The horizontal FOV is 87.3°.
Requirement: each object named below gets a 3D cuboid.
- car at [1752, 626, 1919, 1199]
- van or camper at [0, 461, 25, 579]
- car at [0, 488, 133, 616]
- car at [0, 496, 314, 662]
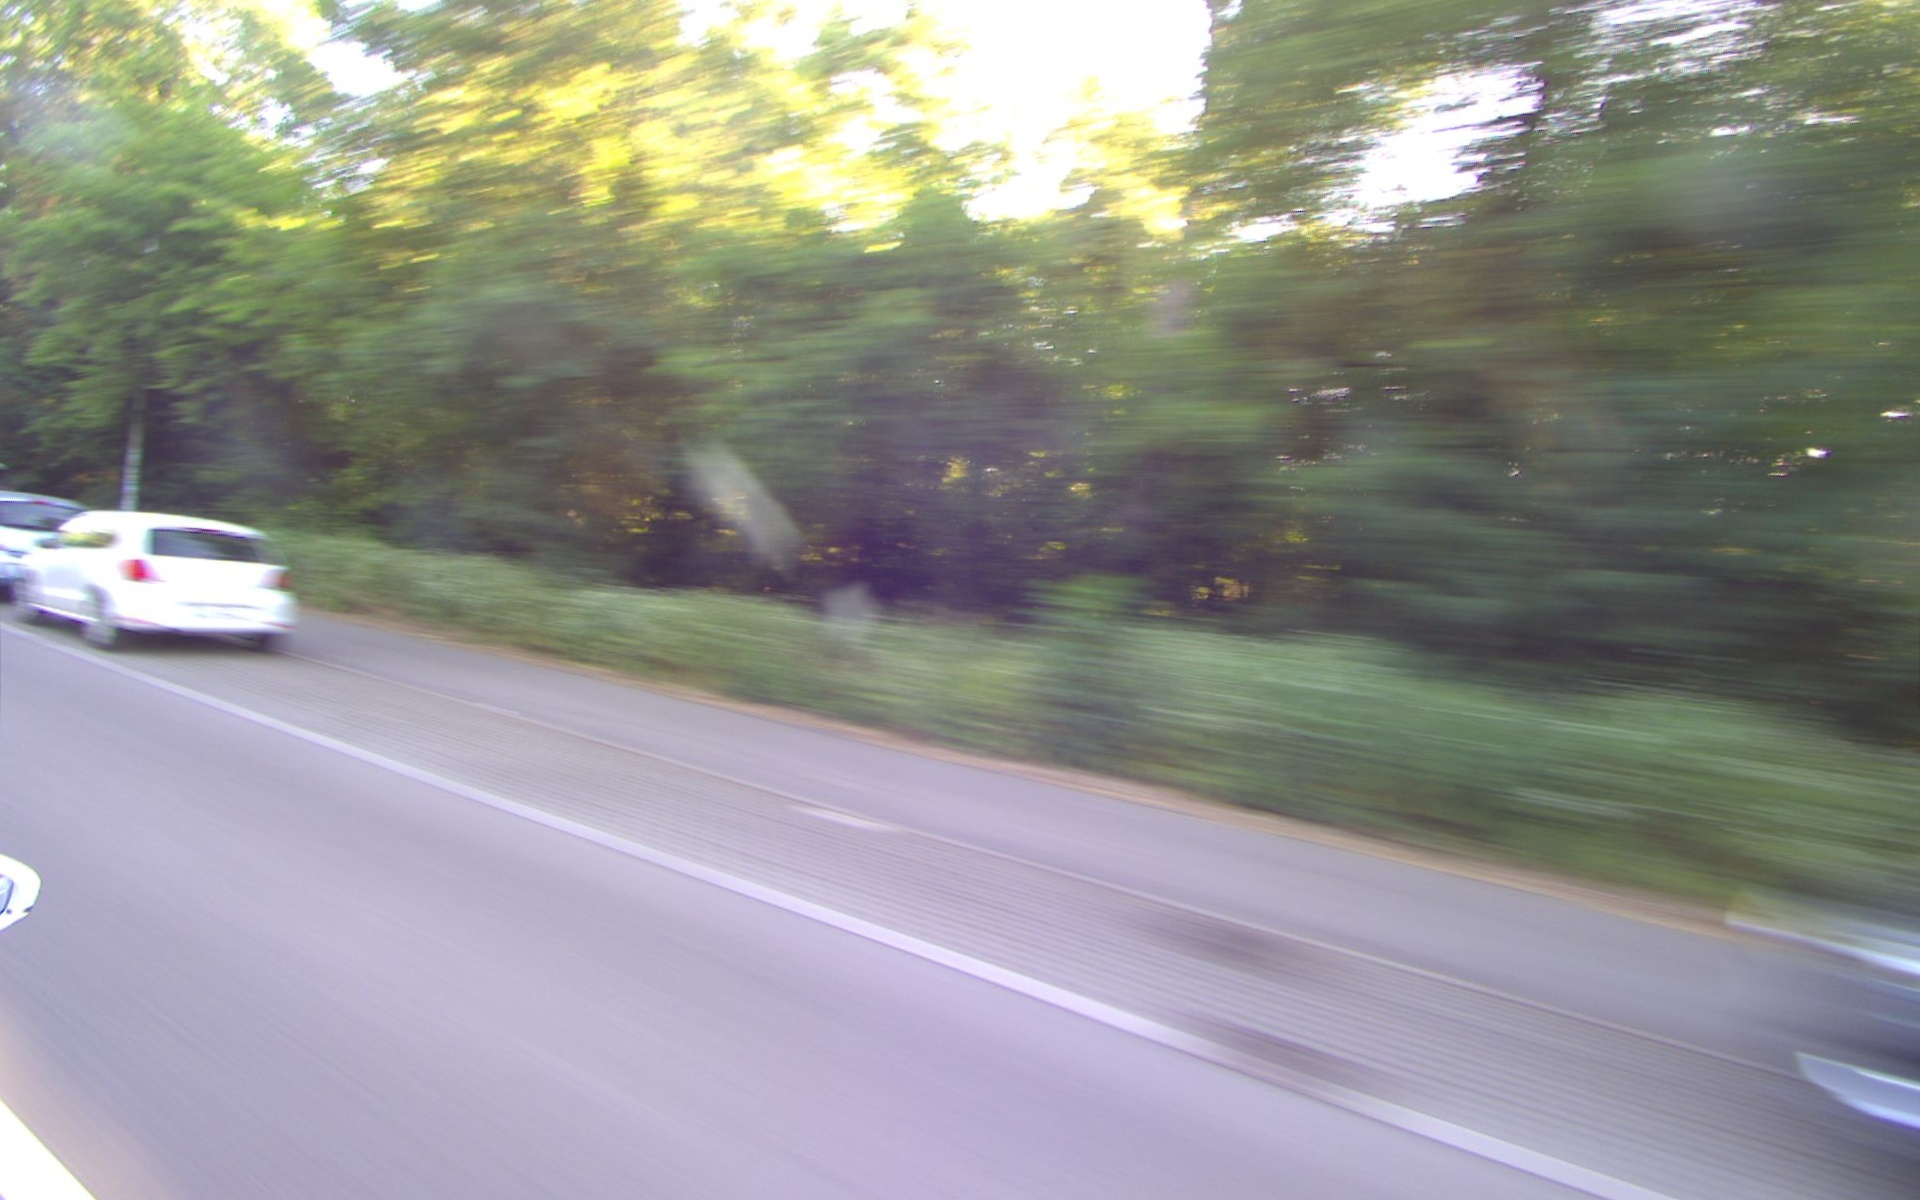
[{"bbox_3d":[5.338,1.335,2.442,4.989,1.891,1.832,7,0,32],"label":"car"},{"bbox_3d":[-18.634,-1.630,17.805,5.051,1.974,1.892,7,2,34],"label":"van or camper"},{"bbox_3d":[-13.907,-0.825,14.574,4.149,1.562,1.729,7,0,33],"label":"car"},{"bbox_3d":[-9.588,-0.281,11.877,4.034,1.459,1.729,7,0,33],"label":"car"}]
